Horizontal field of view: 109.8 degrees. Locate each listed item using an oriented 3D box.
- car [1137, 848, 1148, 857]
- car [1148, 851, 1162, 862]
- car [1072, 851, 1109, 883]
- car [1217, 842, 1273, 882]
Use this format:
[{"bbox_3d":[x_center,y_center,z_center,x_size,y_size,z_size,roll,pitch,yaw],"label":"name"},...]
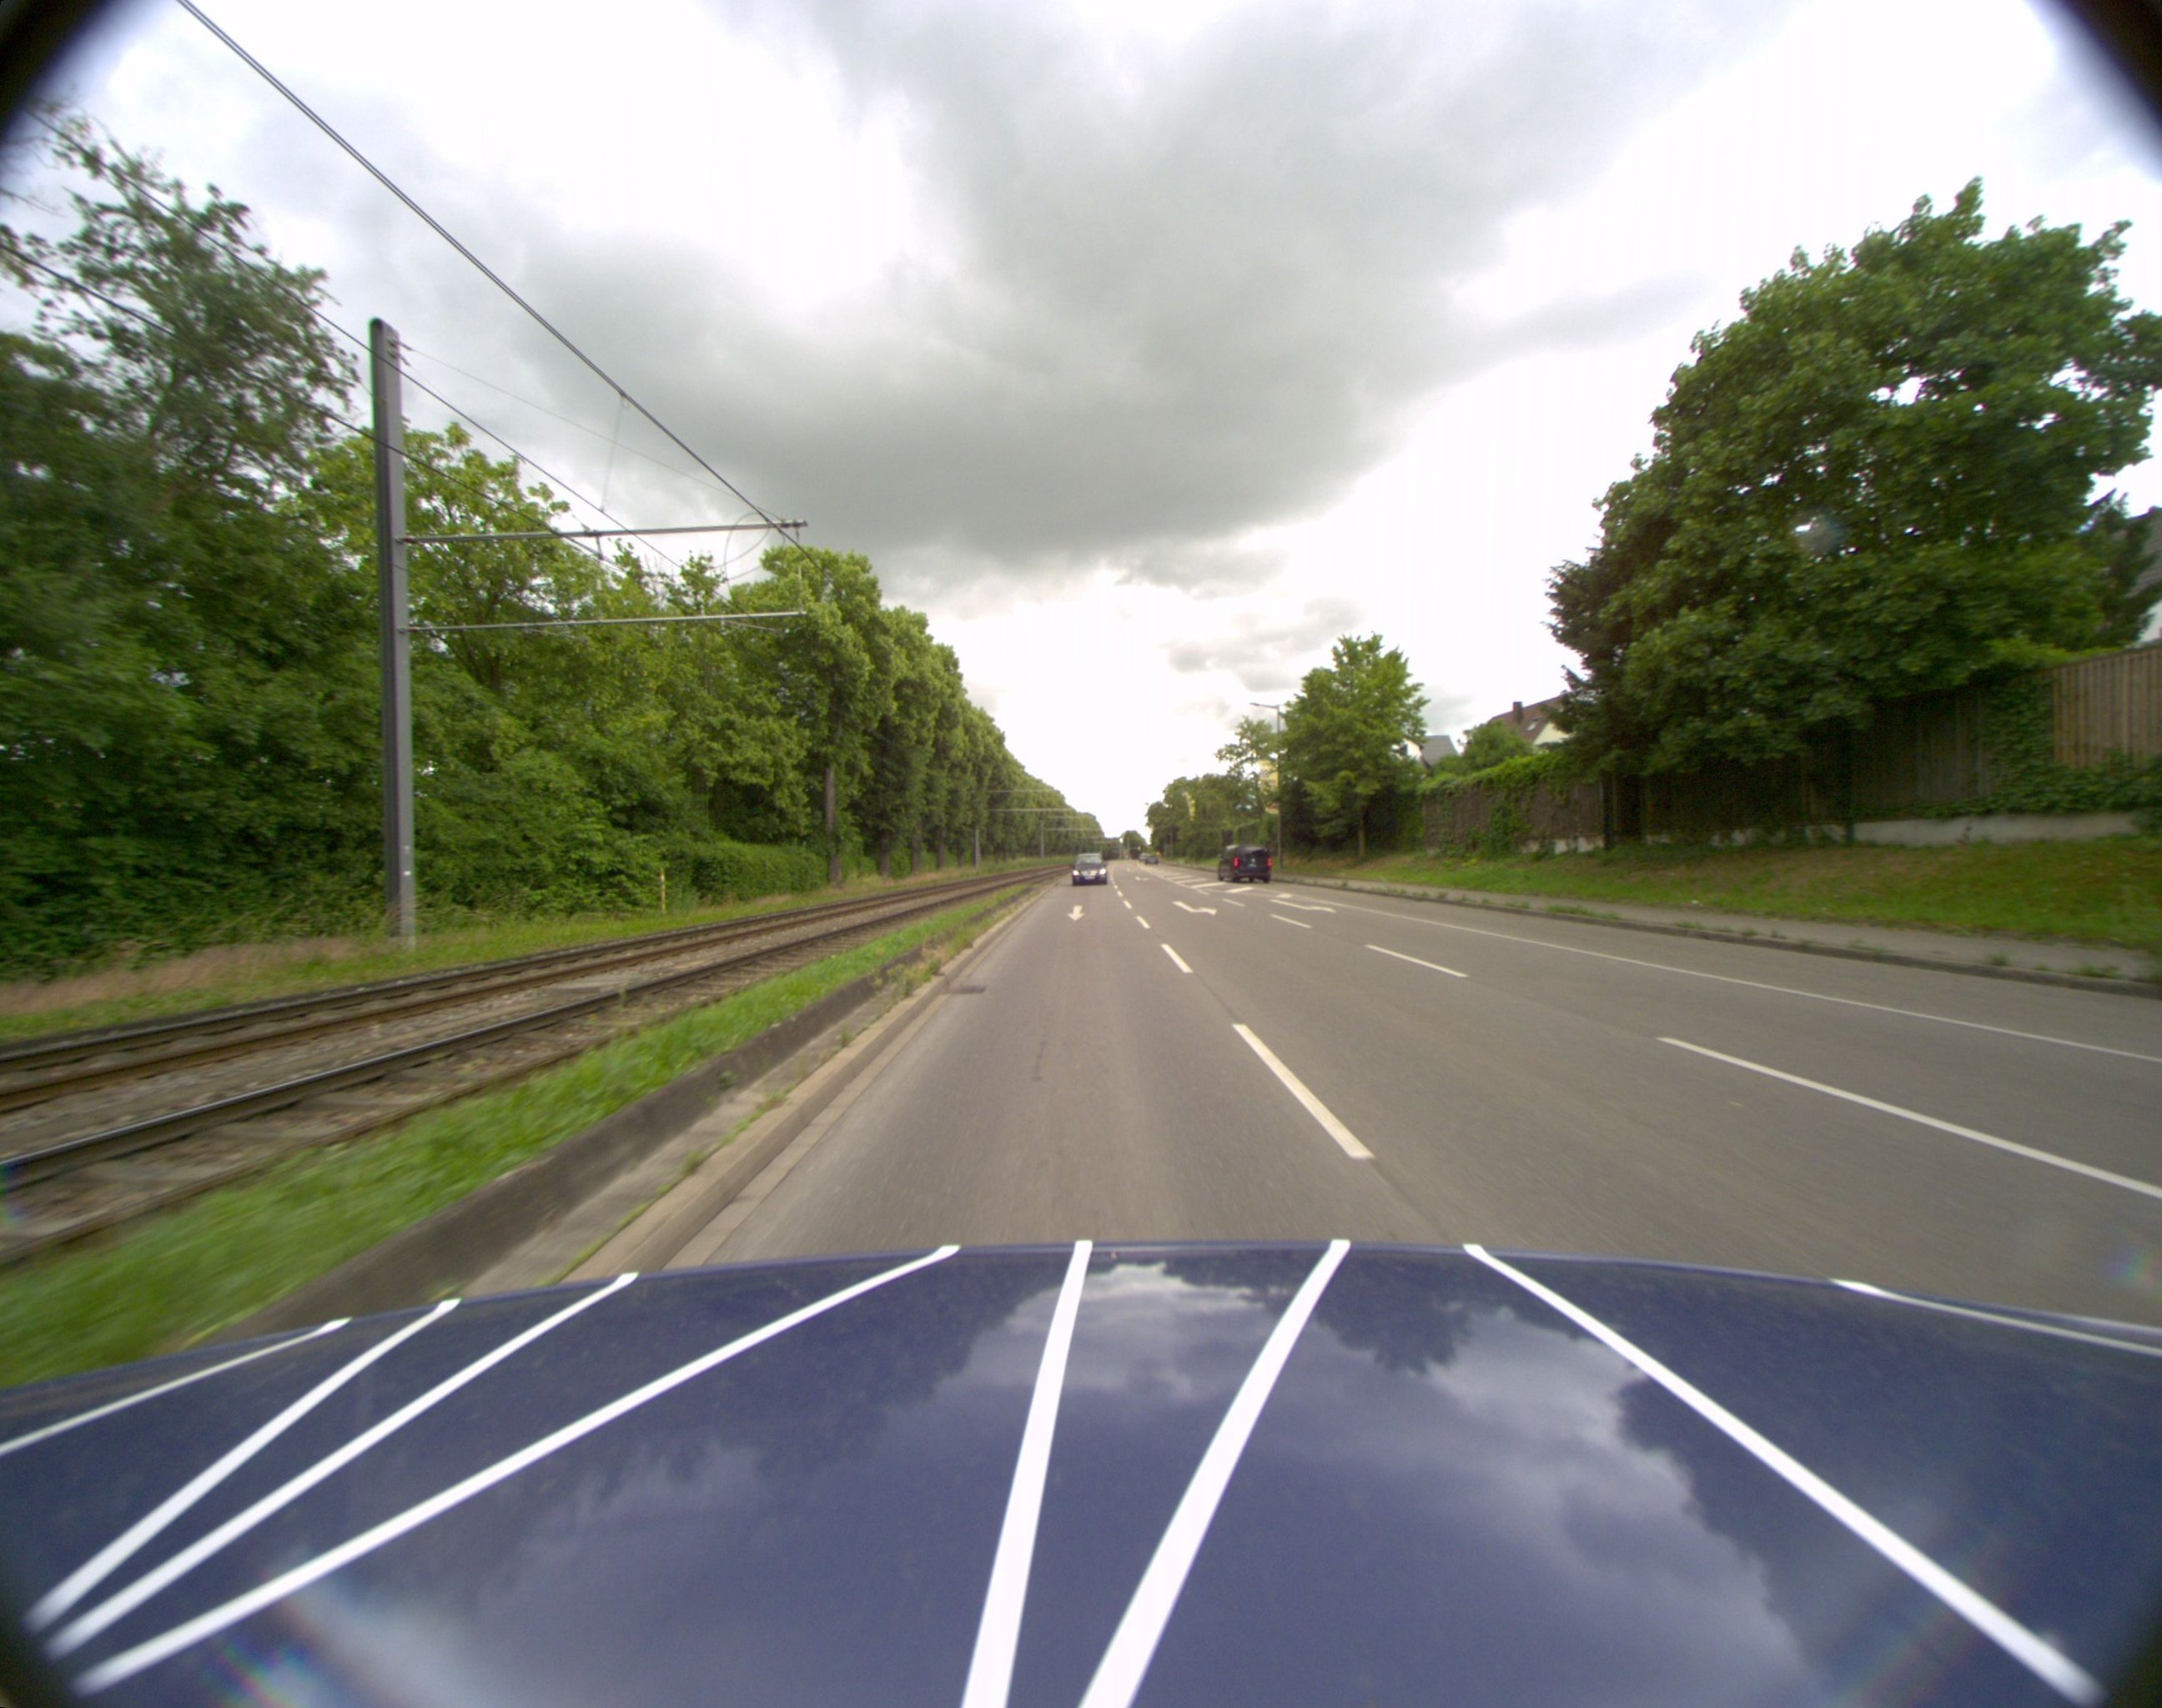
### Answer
[{"bbox_3d":[11.828,-0.288,146.267,1.807,1.520,3.929,-3,1,2],"label":"car"},{"bbox_3d":[10.492,0.335,107.783,1.657,1.414,4.008,0,1,2],"label":"car"},{"bbox_3d":[0.534,0.669,40.728,1.807,1.520,3.929,-3,1,2],"label":"car"},{"bbox_3d":[8.269,0.380,38.739,1.808,1.893,4.688,0,0,-1],"label":"car"}]
